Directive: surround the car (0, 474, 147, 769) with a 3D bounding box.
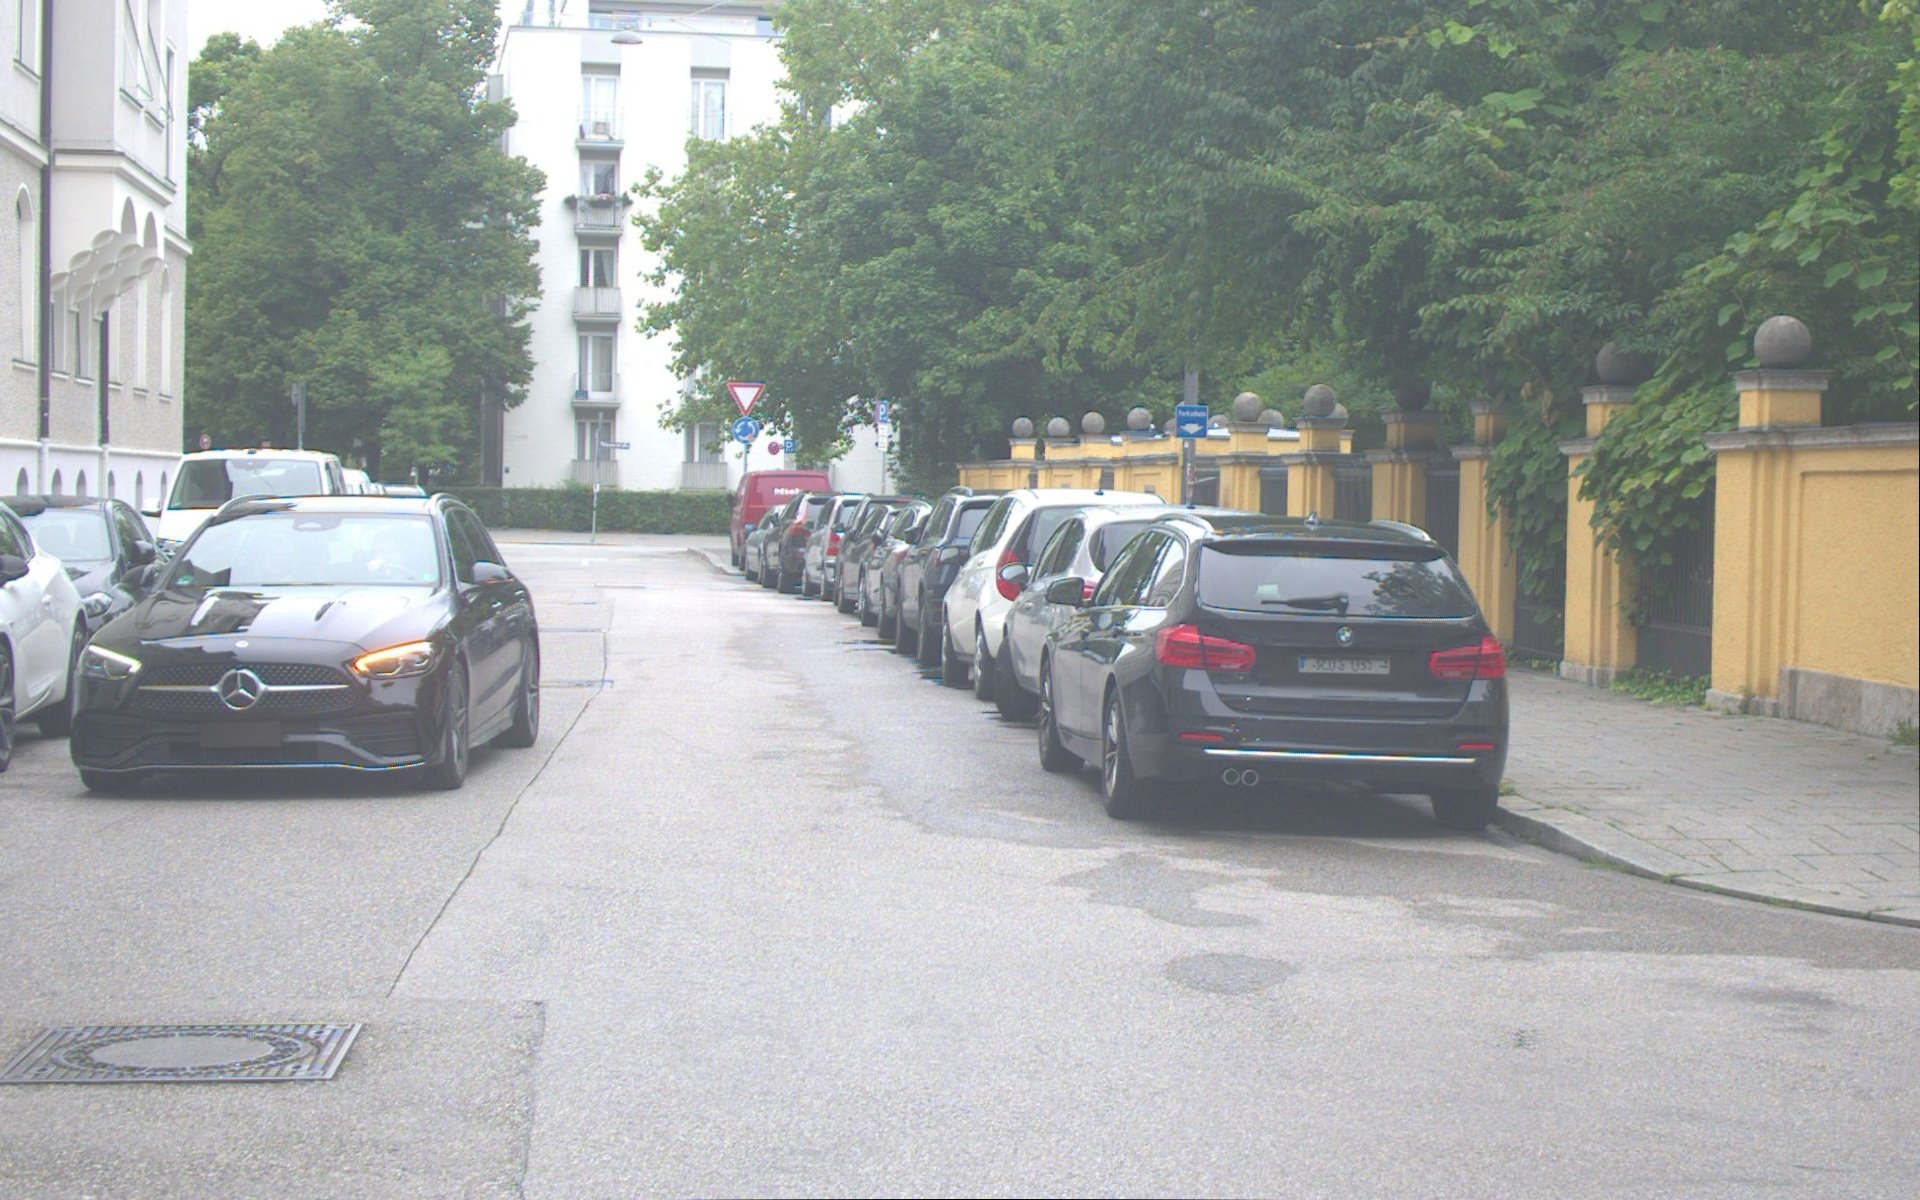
[{"bbox_3d":[-5.817,0.073,18.874,1.836,1.433,4.276,-2,3,-3],"label":"car"}]

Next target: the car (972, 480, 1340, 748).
[{"bbox_3d":[1.163,0.022,22.078,1.652,1.513,3.796,2,2,-7],"label":"car"}]

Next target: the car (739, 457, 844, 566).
[{"bbox_3d":[-3.267,-1.760,67.278,1.836,1.920,4.005,4,3,-1],"label":"car"}]

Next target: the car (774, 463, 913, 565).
[{"bbox_3d":[-1.914,-1.396,55.377,1.838,1.513,3.949,2,2,-7],"label":"car"}]

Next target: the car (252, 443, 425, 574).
[{"bbox_3d":[-8.828,-1.350,49.168,2.015,1.720,4.276,-2,3,-5],"label":"car"}]

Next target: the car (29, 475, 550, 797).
[{"bbox_3d":[-3.322,0.085,17.899,1.874,1.423,4.410,0,3,0],"label":"car"}]

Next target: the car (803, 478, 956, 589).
[{"bbox_3d":[-1.239,-1.019,51.238,1.838,1.513,3.949,2,2,-7],"label":"car"}]

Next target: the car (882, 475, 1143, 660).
[{"bbox_3d":[0.417,-0.350,31.967,1.838,1.545,3.949,2,2,-7],"label":"car"}]

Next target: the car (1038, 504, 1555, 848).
[{"bbox_3d":[1.510,0.275,17.063,1.838,1.408,4.343,2,2,-3],"label":"car"}]

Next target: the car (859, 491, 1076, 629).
[{"bbox_3d":[0.024,-0.474,37.524,1.838,1.341,3.949,2,2,-7],"label":"car"}]

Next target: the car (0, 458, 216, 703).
[{"bbox_3d":[-6.366,-0.194,23.663,1.836,1.494,4.276,-2,3,-5],"label":"car"}]

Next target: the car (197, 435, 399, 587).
[{"bbox_3d":[-8.288,-1.170,43.386,2.015,1.765,4.415,-2,3,-5],"label":"car"}]

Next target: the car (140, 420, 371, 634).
[{"bbox_3d":[-7.561,-0.855,37.295,1.886,2.120,4.708,-2,3,-5],"label":"car"}]

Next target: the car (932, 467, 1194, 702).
[{"bbox_3d":[0.734,-0.169,26.789,1.513,1.655,3.675,2,2,-6],"label":"car"}]
